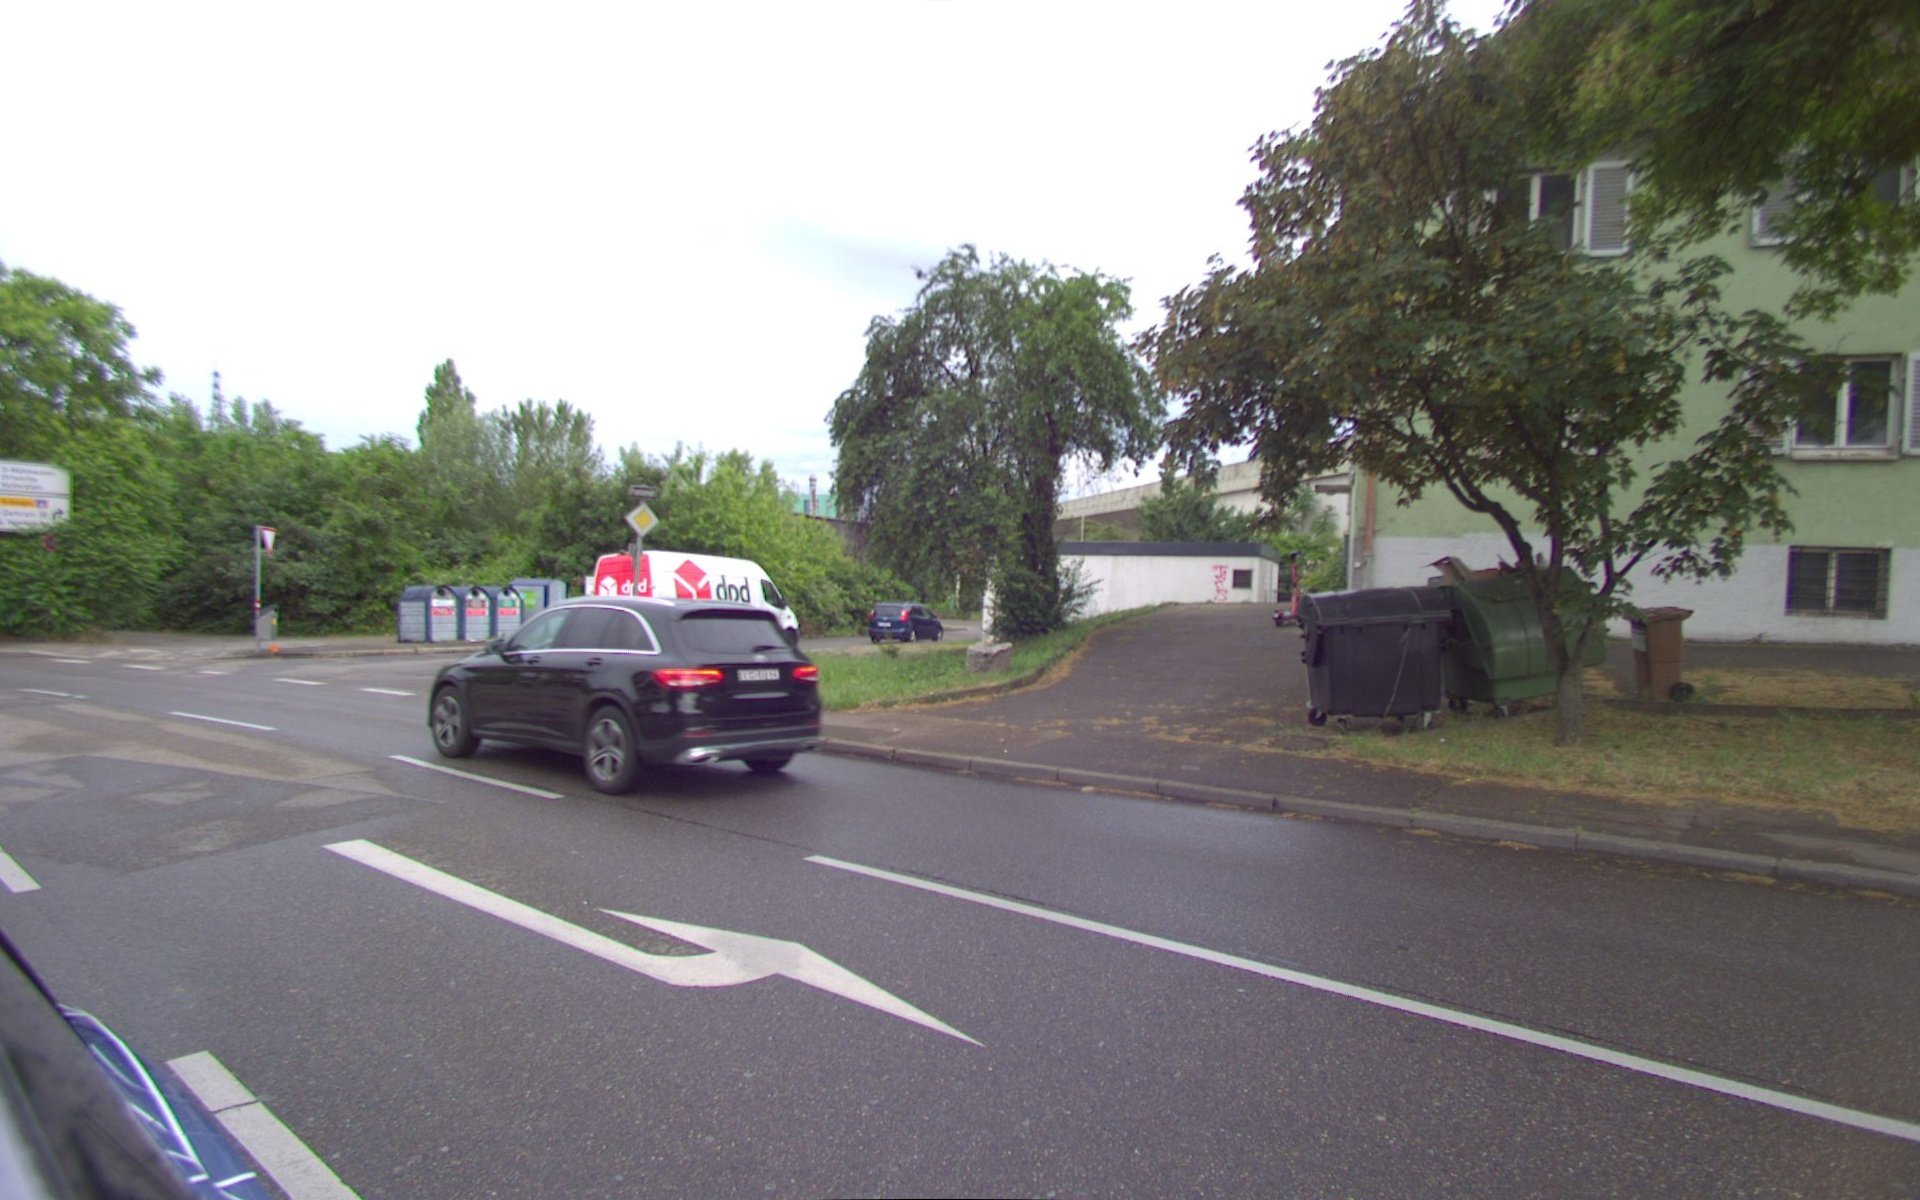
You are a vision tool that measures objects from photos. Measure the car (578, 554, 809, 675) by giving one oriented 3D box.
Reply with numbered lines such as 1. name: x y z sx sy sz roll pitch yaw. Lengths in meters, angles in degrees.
1. car: -6.504 0.300 25.908 2.246 2.675 6.777 1 0 20

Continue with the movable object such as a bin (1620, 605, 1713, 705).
1. movable object such as a bin: 7.212 0.535 10.335 0.723 0.964 0.551 1 0 41

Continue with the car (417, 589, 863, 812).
1. car: -3.169 0.758 9.583 4.428 1.638 1.896 -1 -1 38

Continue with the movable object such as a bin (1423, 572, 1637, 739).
1. movable object such as a bin: 5.710 0.513 10.221 1.440 1.448 1.102 -5 3 -6

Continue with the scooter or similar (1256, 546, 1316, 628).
1. scooter or similar: 5.531 -0.239 17.135 0.529 1.283 1.507 1 4 35

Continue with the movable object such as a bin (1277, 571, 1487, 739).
1. movable object such as a bin: 4.255 0.503 10.330 1.440 1.448 1.296 -5 3 -6

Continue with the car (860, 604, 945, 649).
1. car: -2.222 0.997 40.398 1.984 1.642 4.228 1 1 18
